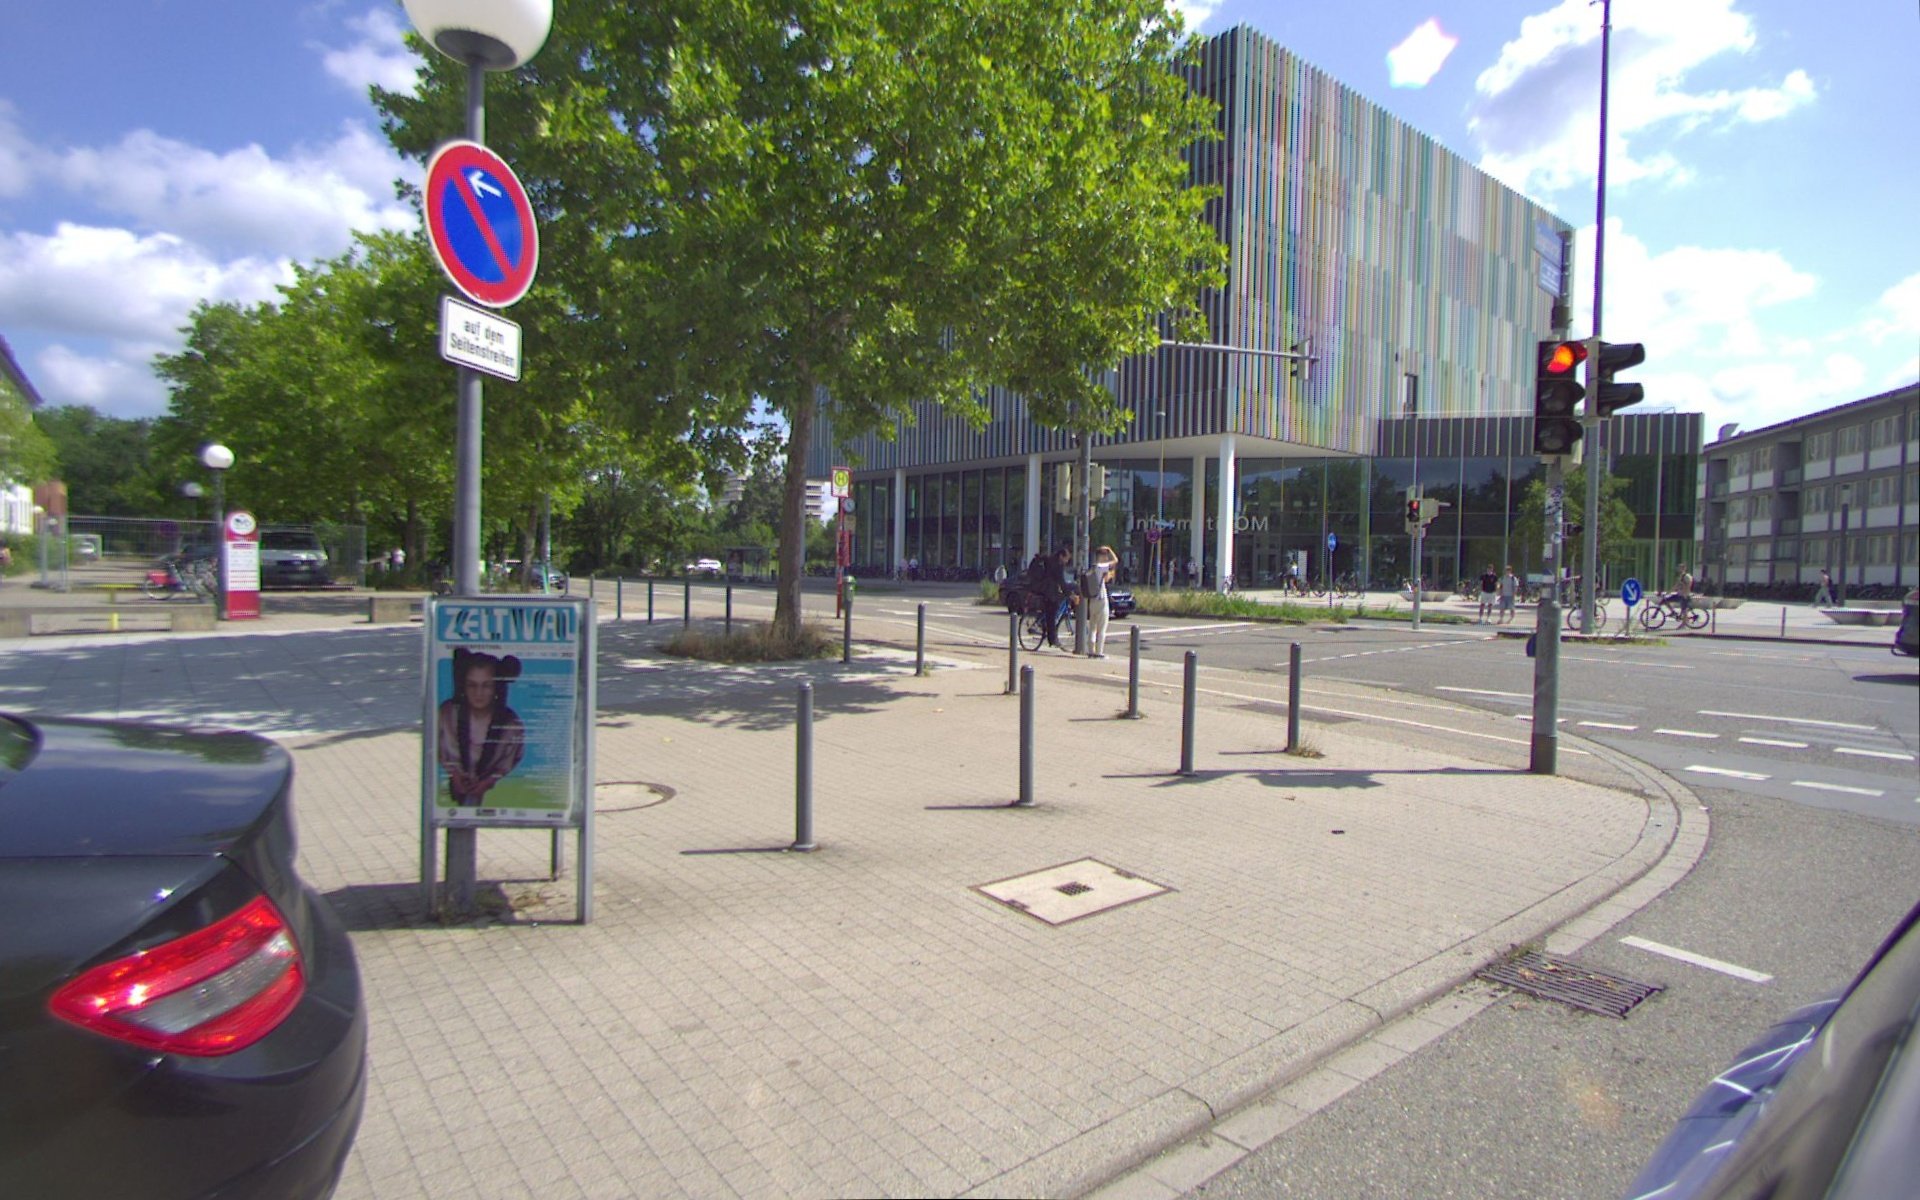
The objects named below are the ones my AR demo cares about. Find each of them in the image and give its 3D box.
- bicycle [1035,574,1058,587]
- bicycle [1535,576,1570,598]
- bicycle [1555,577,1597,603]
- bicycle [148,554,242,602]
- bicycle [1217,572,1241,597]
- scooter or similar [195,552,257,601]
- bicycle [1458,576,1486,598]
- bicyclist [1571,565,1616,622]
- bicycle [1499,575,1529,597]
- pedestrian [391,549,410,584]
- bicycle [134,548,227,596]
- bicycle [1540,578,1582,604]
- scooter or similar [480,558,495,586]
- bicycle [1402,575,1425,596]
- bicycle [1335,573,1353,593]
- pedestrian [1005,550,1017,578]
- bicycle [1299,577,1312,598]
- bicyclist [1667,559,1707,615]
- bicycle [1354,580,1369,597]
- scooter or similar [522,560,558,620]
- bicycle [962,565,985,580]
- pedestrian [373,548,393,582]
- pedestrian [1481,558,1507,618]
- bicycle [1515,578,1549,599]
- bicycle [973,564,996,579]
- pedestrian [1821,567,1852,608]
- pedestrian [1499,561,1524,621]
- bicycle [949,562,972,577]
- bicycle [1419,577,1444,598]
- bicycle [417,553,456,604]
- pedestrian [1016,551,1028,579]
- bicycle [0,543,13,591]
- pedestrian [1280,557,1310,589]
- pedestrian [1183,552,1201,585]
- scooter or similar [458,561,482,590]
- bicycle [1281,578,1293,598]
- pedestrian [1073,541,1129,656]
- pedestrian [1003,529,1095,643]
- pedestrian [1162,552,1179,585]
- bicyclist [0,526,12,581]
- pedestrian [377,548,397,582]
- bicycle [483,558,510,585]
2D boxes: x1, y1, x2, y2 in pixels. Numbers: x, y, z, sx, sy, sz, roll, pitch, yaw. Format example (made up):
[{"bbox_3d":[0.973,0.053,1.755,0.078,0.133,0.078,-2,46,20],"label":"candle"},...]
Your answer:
[{"bbox_3d":[5.363,-1.208,62.565,1.518,0.785,0.373,-2,3,-36],"label":"bicycle"},{"bbox_3d":[27.638,-0.604,47.247,0.519,0.967,1.775,0,2,-2],"label":"bicycle"},{"bbox_3d":[24.151,-0.391,39.704,0.519,0.967,1.775,0,2,-2],"label":"bicycle"},{"bbox_3d":[-18.522,-0.557,24.551,0.596,1.112,1.757,1,3,20],"label":"bicycle"},{"bbox_3d":[13.560,-0.778,51.083,1.520,1.201,0.373,-3,4,-41],"label":"bicycle"},{"bbox_3d":[-19.170,-0.620,26.446,0.279,1.248,1.282,3,3,36],"label":"scooter or similar"},{"bbox_3d":[24.618,-0.635,48.657,0.519,0.967,1.772,1,2,4],"label":"bicycle"},{"bbox_3d":[18.592,-0.207,29.706,0.988,1.635,0.652,1,1,22],"label":"bicyclist"},{"bbox_3d":[26.133,-0.677,47.773,0.519,0.967,1.772,1,2,4],"label":"bicycle"},{"bbox_3d":[-29.352,-1.768,53.062,0.670,1.802,0.793,-1,3,-17],"label":"pedestrian"},{"bbox_3d":[-19.135,-0.710,24.881,0.596,1.112,1.757,1,3,20],"label":"bicycle"},{"bbox_3d":[23.567,-0.374,39.698,0.519,0.967,1.775,0,2,-2],"label":"bicycle"},{"bbox_3d":[-20.346,-1.191,43.554,0.519,1.184,1.577,2,0,-26],"label":"scooter or similar"},{"bbox_3d":[21.849,-0.713,48.779,0.520,0.967,1.771,1,3,7],"label":"bicycle"},{"bbox_3d":[18.917,-0.846,49.865,0.525,0.967,1.755,2,3,30],"label":"bicycle"},{"bbox_3d":[3.408,-2.387,67.793,0.553,1.864,0.553,2,3,43],"label":"pedestrian"},{"bbox_3d":[17.255,-0.637,50.525,0.368,0.967,1.768,1,2,11],"label":"bicycle"},{"bbox_3d":[20.786,-0.383,28.946,0.778,1.557,0.651,1,1,26],"label":"bicyclist"},{"bbox_3d":[19.645,-0.569,49.527,0.522,0.773,1.764,1,3,18],"label":"bicycle"},{"bbox_3d":[-8.595,-0.213,20.702,0.347,1.179,1.192,-2,3,-39],"label":"scooter or similar"},{"bbox_3d":[0.910,-1.829,67.325,1.514,0.967,0.374,-2,3,-25],"label":"bicycle"},{"bbox_3d":[-30.123,-1.834,52.846,0.670,1.802,0.793,-1,3,-14],"label":"pedestrian"},{"bbox_3d":[16.846,-0.375,31.923,0.629,1.864,0.474,2,2,36],"label":"pedestrian"},{"bbox_3d":[26.915,-0.553,47.628,0.519,0.967,1.775,0,2,-2],"label":"bicycle"},{"bbox_3d":[1.603,-1.877,66.149,1.514,0.967,0.374,-2,3,-25],"label":"bicycle"},{"bbox_3d":[39.872,-0.581,46.021,0.833,1.812,0.673,1,1,21],"label":"pedestrian"},{"bbox_3d":[17.319,-0.292,31.768,0.409,1.864,0.574,-2,3,-44],"label":"pedestrian"},{"bbox_3d":[0.051,-2.041,68.140,1.514,0.967,0.374,-2,3,-25],"label":"bicycle"},{"bbox_3d":[22.673,-0.611,48.705,0.520,0.967,1.771,-2,2,7],"label":"bicycle"},{"bbox_3d":[-12.857,-0.554,24.826,0.784,1.197,2.034,-1,3,-28],"label":"bicycle"},{"bbox_3d":[4.030,-2.285,66.243,0.553,1.864,0.553,2,3,43],"label":"pedestrian"},{"bbox_3d":[-23.782,-0.839,24.896,1.583,1.152,0.598,3,1,43],"label":"bicycle"},{"bbox_3d":[17.672,-1.415,53.401,1.161,1.670,1.014,0,2,-39],"label":"pedestrian"},{"bbox_3d":[13.013,-1.787,56.796,0.677,1.864,0.679,-1,2,-32],"label":"pedestrian"},{"bbox_3d":[-21.924,-1.087,45.263,0.519,1.262,1.290,2,0,-5],"label":"scooter or similar"},{"bbox_3d":[16.221,-0.601,50.181,0.368,0.967,1.542,1,2,11],"label":"bicycle"},{"bbox_3d":[2.284,-0.026,16.429,0.598,1.823,0.597,2,0,-23],"label":"pedestrian"},{"bbox_3d":[1.537,-0.241,17.457,1.154,1.842,0.856,5,1,-38],"label":"pedestrian"},{"bbox_3d":[11.773,-1.755,56.659,0.773,1.864,0.518,0,2,-5],"label":"pedestrian"},{"bbox_3d":[-23.768,-1.149,24.887,0.740,1.337,0.598,3,1,43],"label":"bicyclist"},{"bbox_3d":[-30.892,-1.901,54.581,0.670,1.802,0.793,-1,3,-10],"label":"pedestrian"},{"bbox_3d":[-22.063,-1.355,48.171,0.628,1.205,2.117,2,0,-39],"label":"bicycle"}]
